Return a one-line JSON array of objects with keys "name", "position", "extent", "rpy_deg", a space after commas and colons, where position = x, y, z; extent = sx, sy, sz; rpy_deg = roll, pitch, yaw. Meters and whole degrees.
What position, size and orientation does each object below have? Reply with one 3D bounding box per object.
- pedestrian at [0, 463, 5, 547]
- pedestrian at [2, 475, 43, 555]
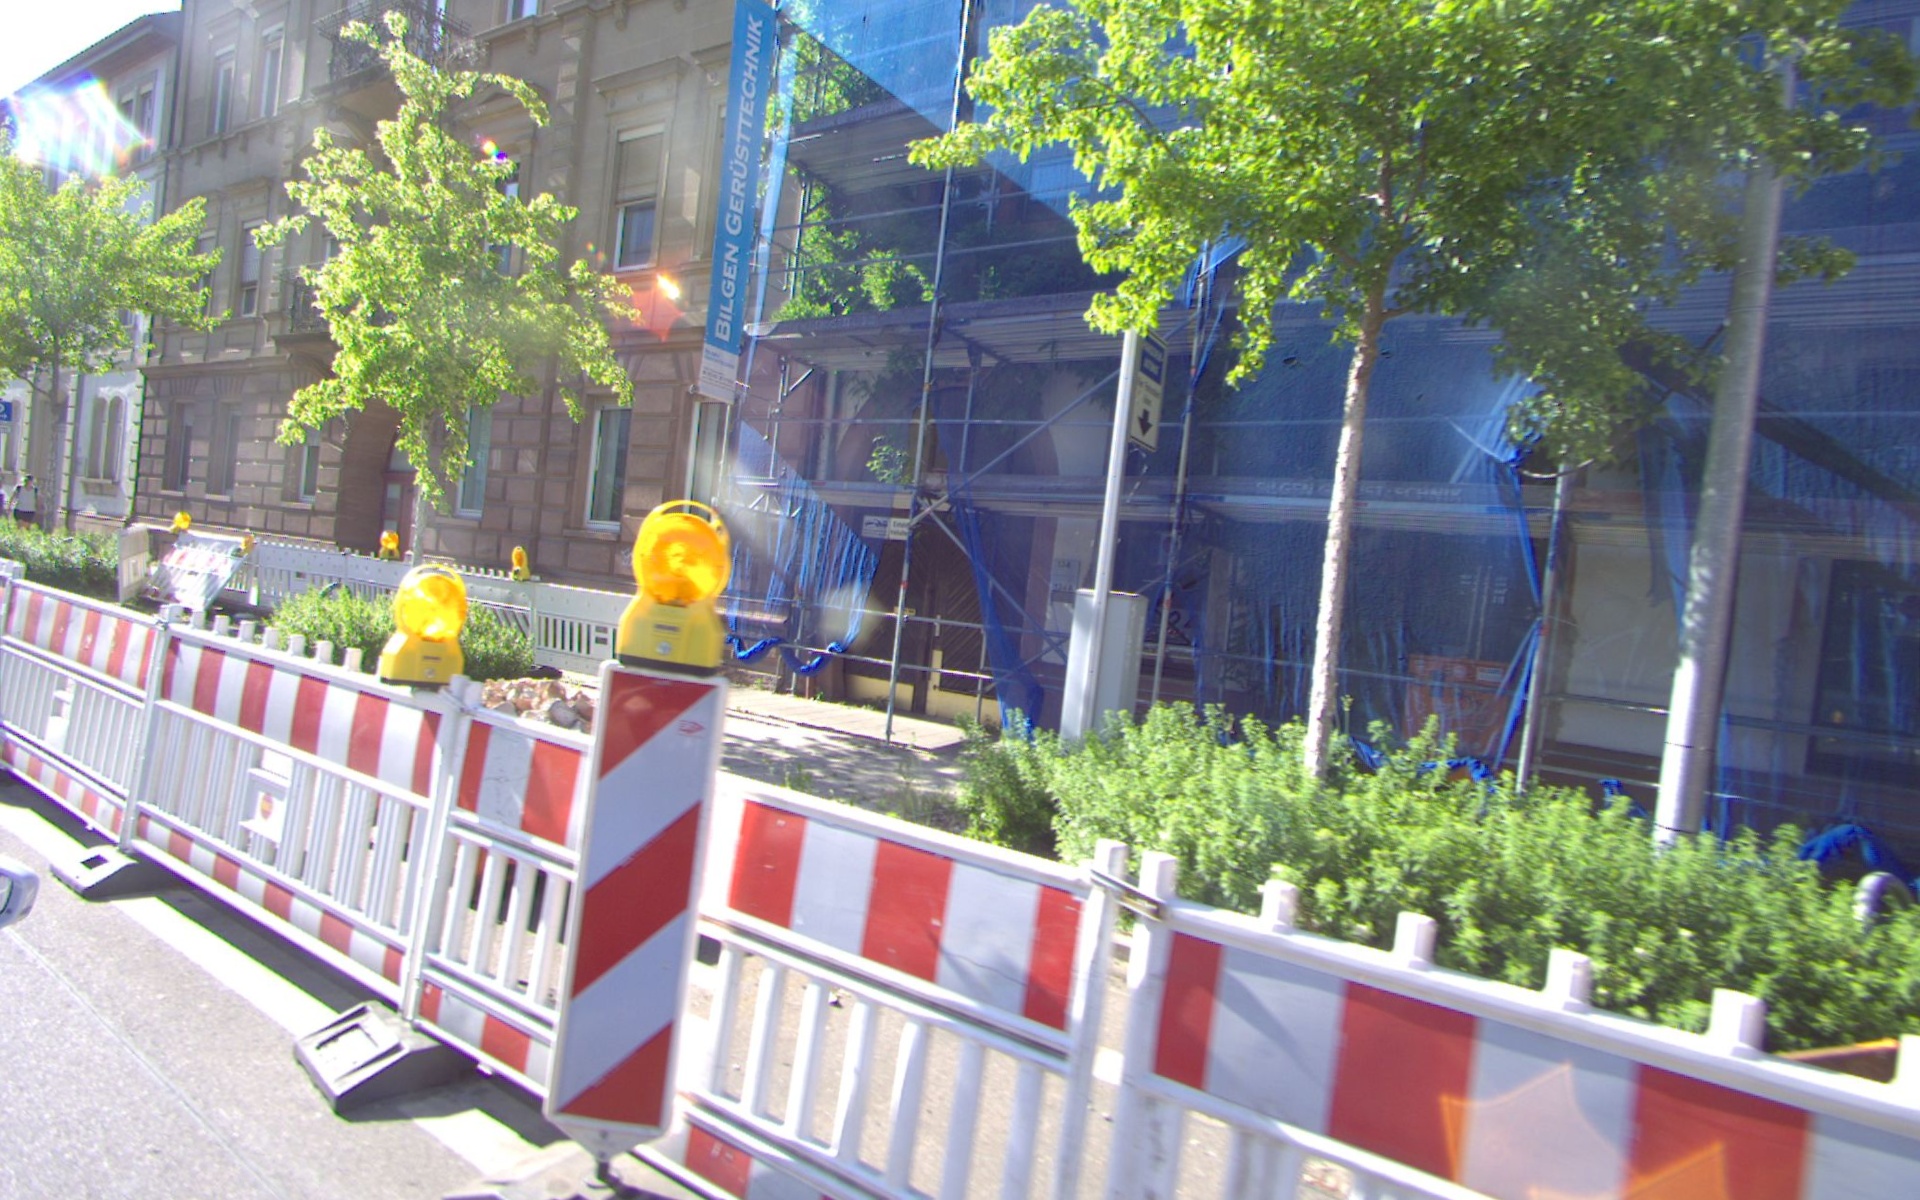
[{"name": "pedestrian", "position": [-22.740, -2.241, 23.374], "extent": [0.578, 1.939, 0.658], "rpy_deg": [7, 4, 33]}, {"name": "pedestrian", "position": [-22.377, -2.025, 24.014], "extent": [0.578, 1.846, 0.562], "rpy_deg": [7, 4, 33]}]
